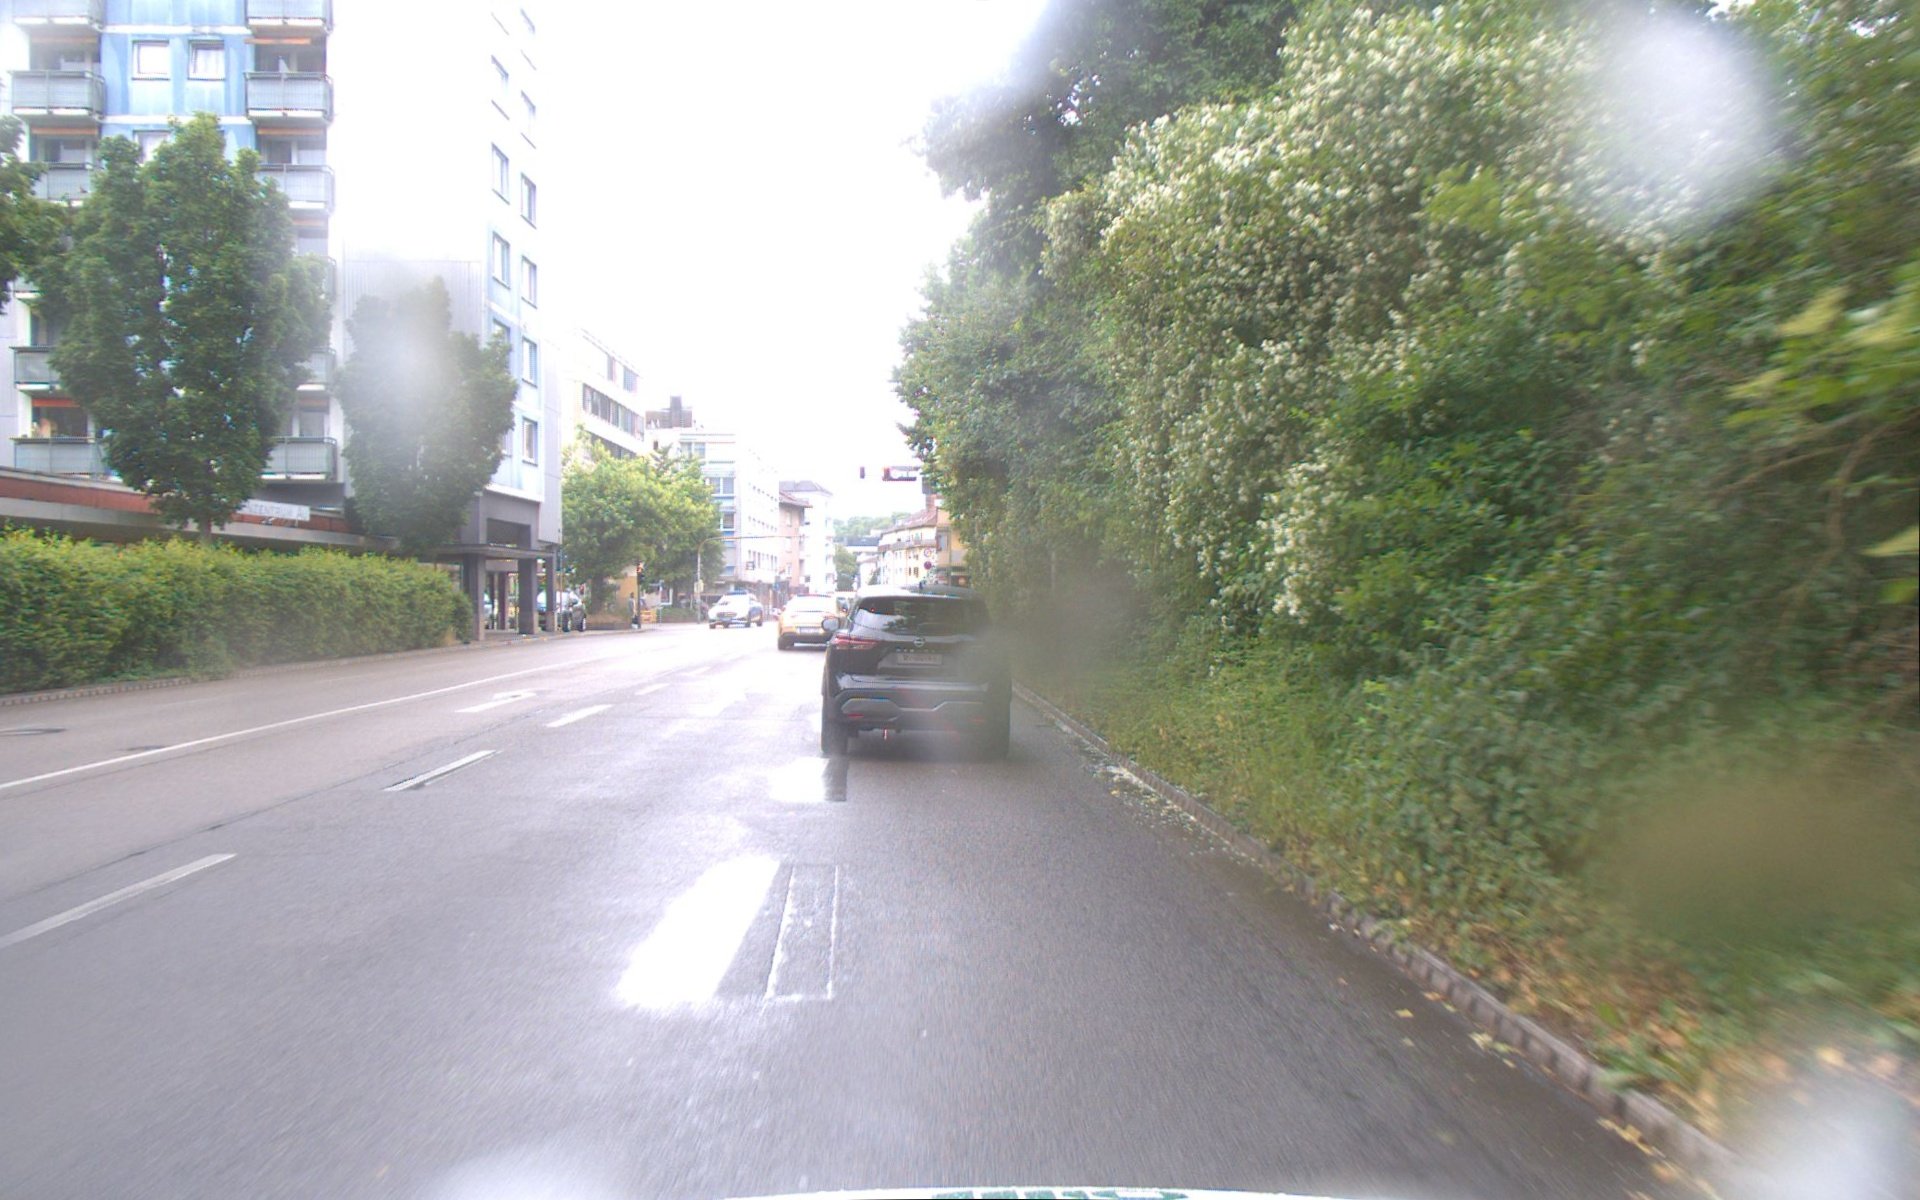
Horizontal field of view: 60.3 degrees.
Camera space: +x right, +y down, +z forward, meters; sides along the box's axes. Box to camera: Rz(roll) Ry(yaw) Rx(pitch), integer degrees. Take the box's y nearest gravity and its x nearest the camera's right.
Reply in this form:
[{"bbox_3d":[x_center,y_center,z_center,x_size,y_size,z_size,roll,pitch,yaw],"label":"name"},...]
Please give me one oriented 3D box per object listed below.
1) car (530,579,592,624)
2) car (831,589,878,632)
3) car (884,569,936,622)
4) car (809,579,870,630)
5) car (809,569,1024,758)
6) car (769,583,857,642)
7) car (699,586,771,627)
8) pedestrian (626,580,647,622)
[{"bbox_3d":[-16.066,0.036,66.735,1.508,1.735,4.286,1,0,-1],"label":"car"},{"bbox_3d":[-3.715,0.339,58.704,1.580,1.445,3.965,0,1,-2],"label":"car"},{"bbox_3d":[-1.967,-0.189,66.297,1.953,2.049,4.000,0,1,-1],"label":"car"},{"bbox_3d":[-3.721,0.109,51.731,1.708,1.513,4.160,-1,0,-2],"label":"car"},{"bbox_3d":[-0.475,0.546,16.869,1.920,1.681,3.998,-1,1,-3],"label":"car"},{"bbox_3d":[-3.929,0.305,44.907,2.024,1.489,4.586,0,1,-1],"label":"car"},{"bbox_3d":[-10.183,0.274,75.190,1.951,1.780,4.812,-1,0,8],"label":"car"},{"bbox_3d":[-16.018,0.053,81.883,0.923,2.049,0.884,-2,0,-10],"label":"pedestrian"}]
